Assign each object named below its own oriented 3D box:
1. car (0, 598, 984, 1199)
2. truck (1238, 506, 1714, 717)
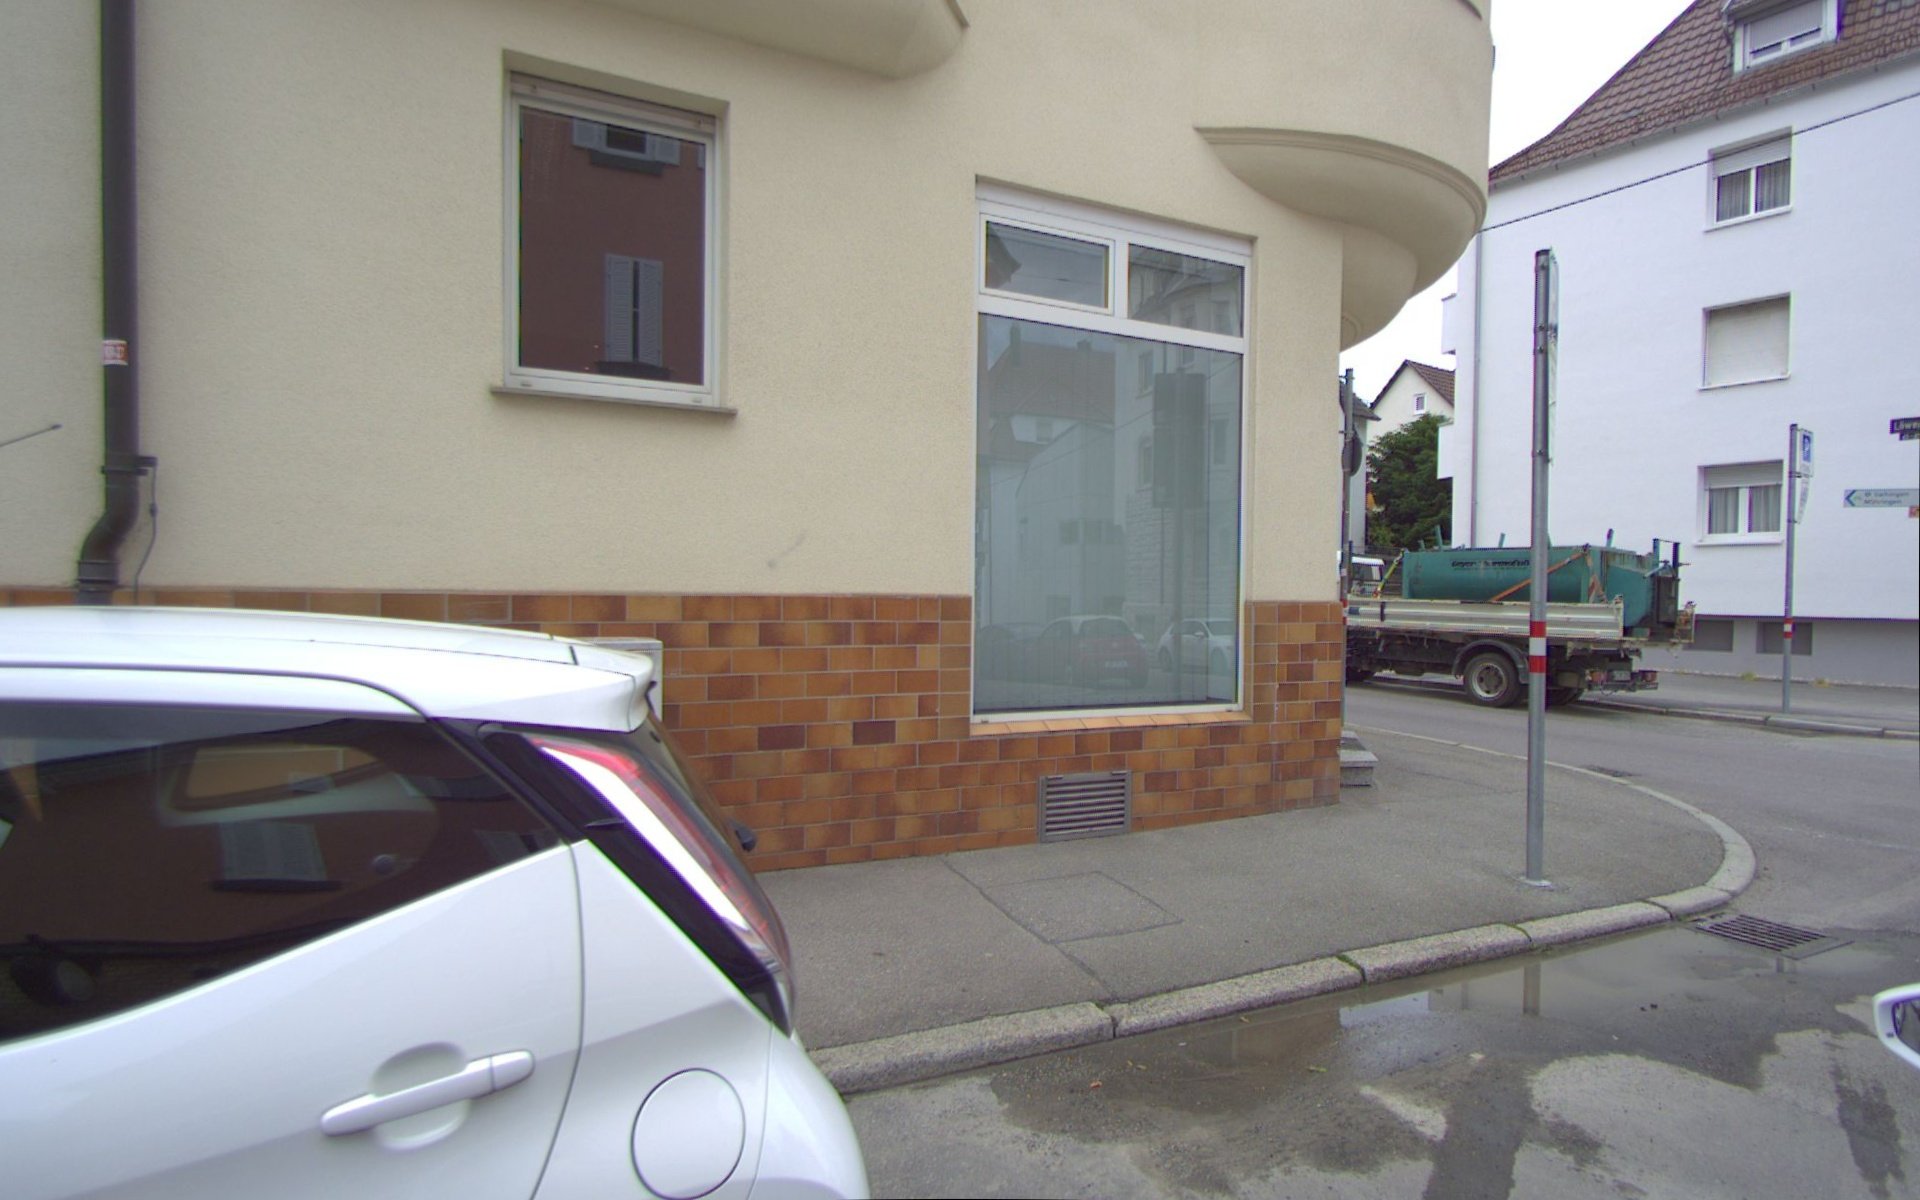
[{"bbox_3d":[-2.025,0.706,1.276,3.766,1.453,1.661,2,-1,-26],"label":"car"},{"bbox_3d":[7.526,0.142,15.562,2.293,2.586,6.230,2,0,-33],"label":"truck"}]
